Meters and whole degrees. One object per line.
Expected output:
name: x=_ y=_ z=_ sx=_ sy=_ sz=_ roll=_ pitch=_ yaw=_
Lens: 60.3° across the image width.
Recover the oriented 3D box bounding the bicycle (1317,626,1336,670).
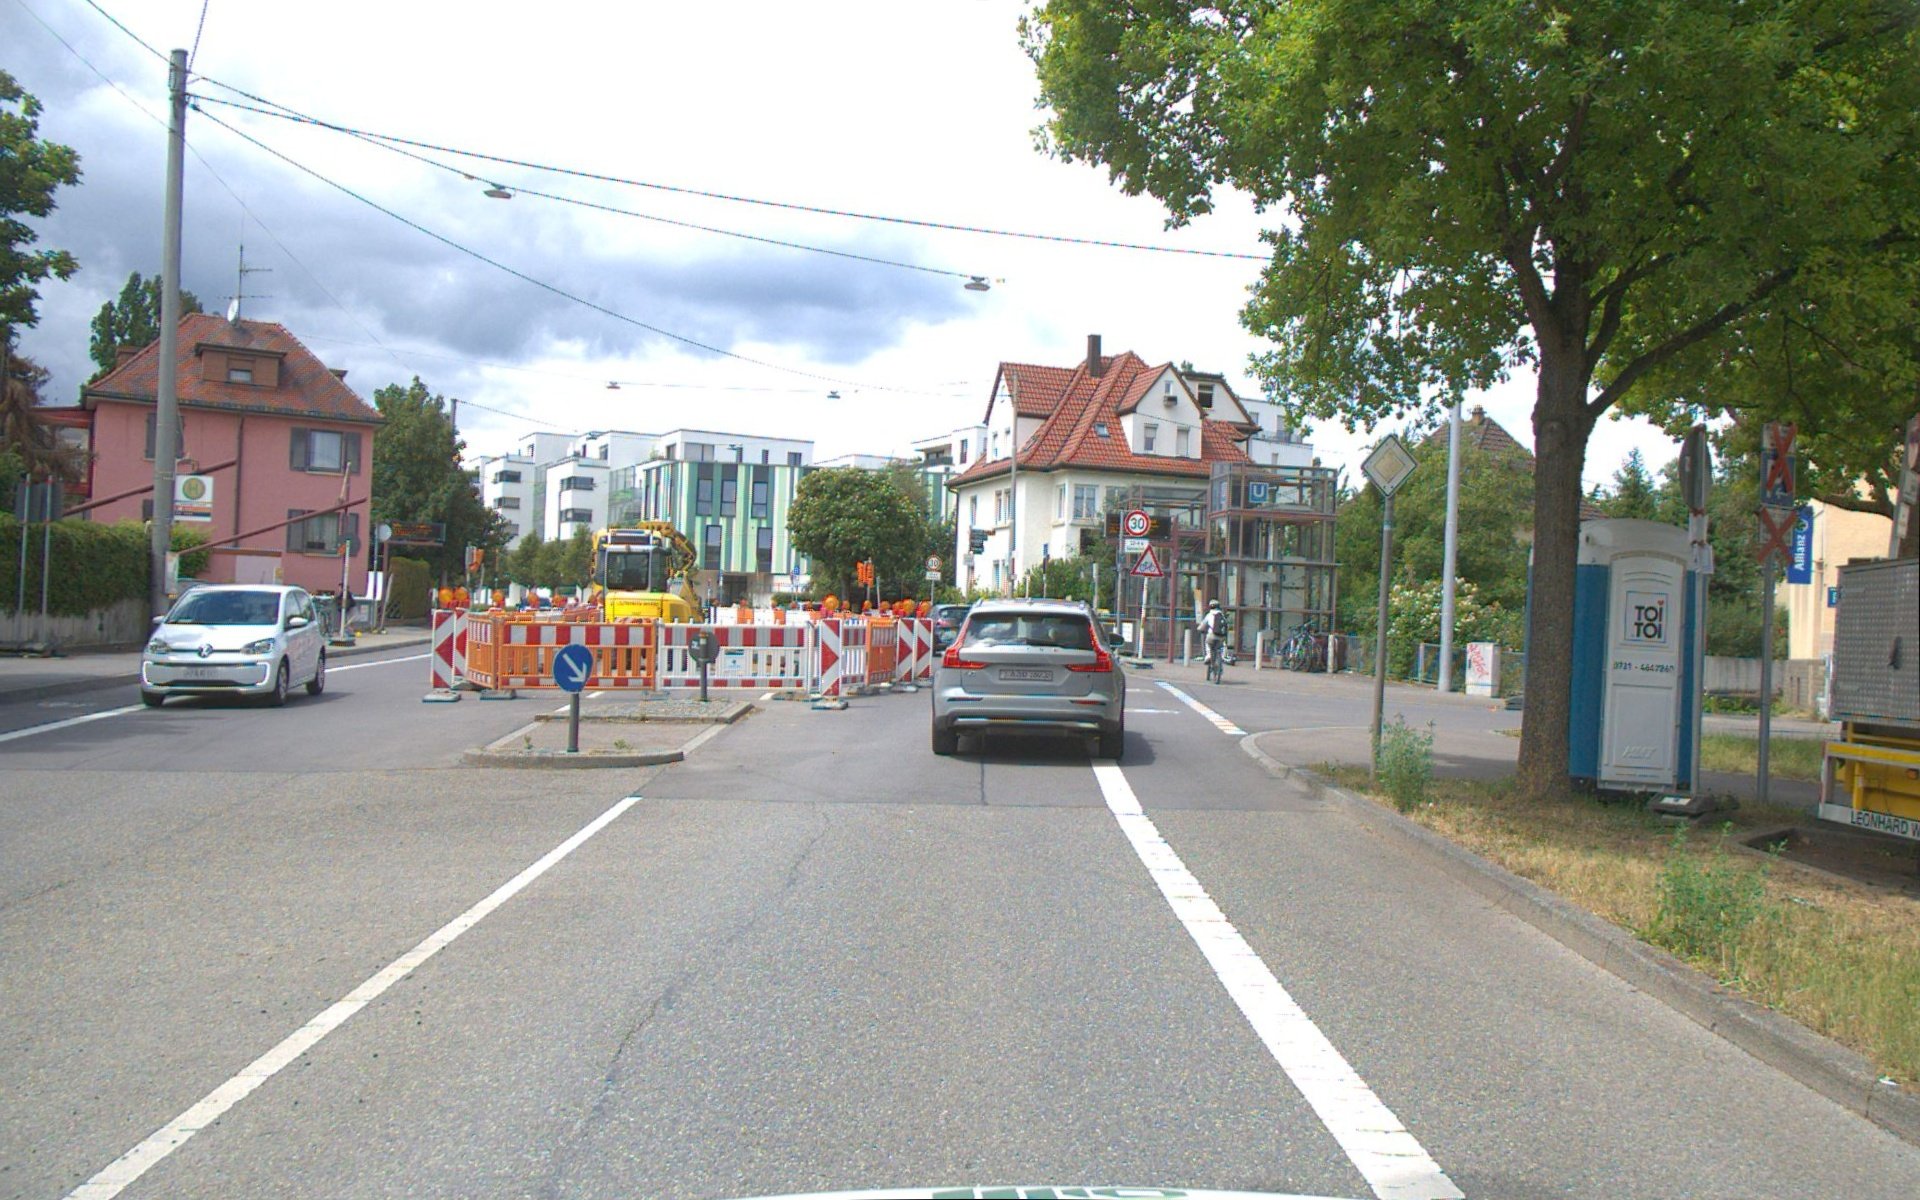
bicycle: x=8.796 y=1.146 z=39.681 sx=0.211 sy=1.026 sz=1.190 roll=1 pitch=0 yaw=2

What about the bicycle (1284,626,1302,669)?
bicycle: x=7.985 y=1.130 z=39.699 sx=0.211 sy=1.018 sz=1.207 roll=1 pitch=0 yaw=2

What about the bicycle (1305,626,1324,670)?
bicycle: x=8.505 y=1.147 z=39.694 sx=0.211 sy=1.026 sz=1.190 roll=1 pitch=0 yaw=2

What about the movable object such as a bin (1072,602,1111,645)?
movable object such as a bin: x=4.790 y=0.869 z=60.305 sx=1.242 sy=1.496 sz=1.004 roll=2 pitch=-1 yaw=-1

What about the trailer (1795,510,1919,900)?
trailer: x=6.913 y=0.690 z=8.235 sx=2.540 sy=2.284 sz=5.673 roll=4 pitch=0 yaw=0

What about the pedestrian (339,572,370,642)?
pedestrian: x=-16.887 y=0.190 z=46.163 sx=0.666 sy=1.919 sz=0.584 roll=1 pitch=-1 yaw=-8

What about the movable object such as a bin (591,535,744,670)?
movable object such as a bin: x=-6.276 y=0.069 z=36.345 sx=1.952 sy=2.671 sz=6.523 roll=1 pitch=0 yaw=2

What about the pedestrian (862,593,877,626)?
pedestrian: x=-4.351 y=0.440 z=79.405 sx=0.509 sy=1.567 sz=0.636 roll=1 pitch=-1 yaw=21

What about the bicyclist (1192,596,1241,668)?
bicyclist: x=5.251 y=0.643 z=33.936 sx=0.644 sy=1.440 sz=1.176 roll=2 pitch=0 yaw=-8

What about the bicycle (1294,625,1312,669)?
bicycle: x=8.245 y=1.128 z=39.717 sx=0.211 sy=1.031 sz=1.169 roll=1 pitch=0 yaw=2

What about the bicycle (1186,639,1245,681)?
bicycle: x=5.234 y=1.218 z=33.986 sx=0.623 sy=0.766 sz=2.058 roll=2 pitch=0 yaw=-8

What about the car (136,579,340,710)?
car: x=-9.276 y=0.538 z=21.550 sx=1.664 sy=1.539 sz=3.987 roll=1 pitch=0 yaw=-13

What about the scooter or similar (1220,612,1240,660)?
scooter or similar: x=6.645 y=0.881 z=40.712 sx=0.211 sy=1.131 sz=0.945 roll=1 pitch=3 yaw=-7

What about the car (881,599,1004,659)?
car: x=-0.543 y=0.791 z=46.736 sx=1.833 sy=1.539 sz=3.964 roll=3 pitch=-1 yaw=-27

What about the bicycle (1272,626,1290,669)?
bicycle: x=7.709 y=1.140 z=39.711 sx=0.211 sy=1.006 sz=1.204 roll=1 pitch=0 yaw=2

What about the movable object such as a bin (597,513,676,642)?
movable object such as a bin: x=-12.071 y=-0.738 z=61.263 sx=2.546 sy=4.295 sz=11.086 roll=1 pitch=0 yaw=-12

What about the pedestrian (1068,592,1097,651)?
pedestrian: x=3.462 y=0.613 z=46.784 sx=0.587 sy=1.610 sz=0.400 roll=7 pitch=-3 yaw=-8

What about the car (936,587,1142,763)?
car: x=0.675 y=0.680 z=16.742 sx=1.817 sy=1.539 sz=3.999 roll=1 pitch=0 yaw=-1
